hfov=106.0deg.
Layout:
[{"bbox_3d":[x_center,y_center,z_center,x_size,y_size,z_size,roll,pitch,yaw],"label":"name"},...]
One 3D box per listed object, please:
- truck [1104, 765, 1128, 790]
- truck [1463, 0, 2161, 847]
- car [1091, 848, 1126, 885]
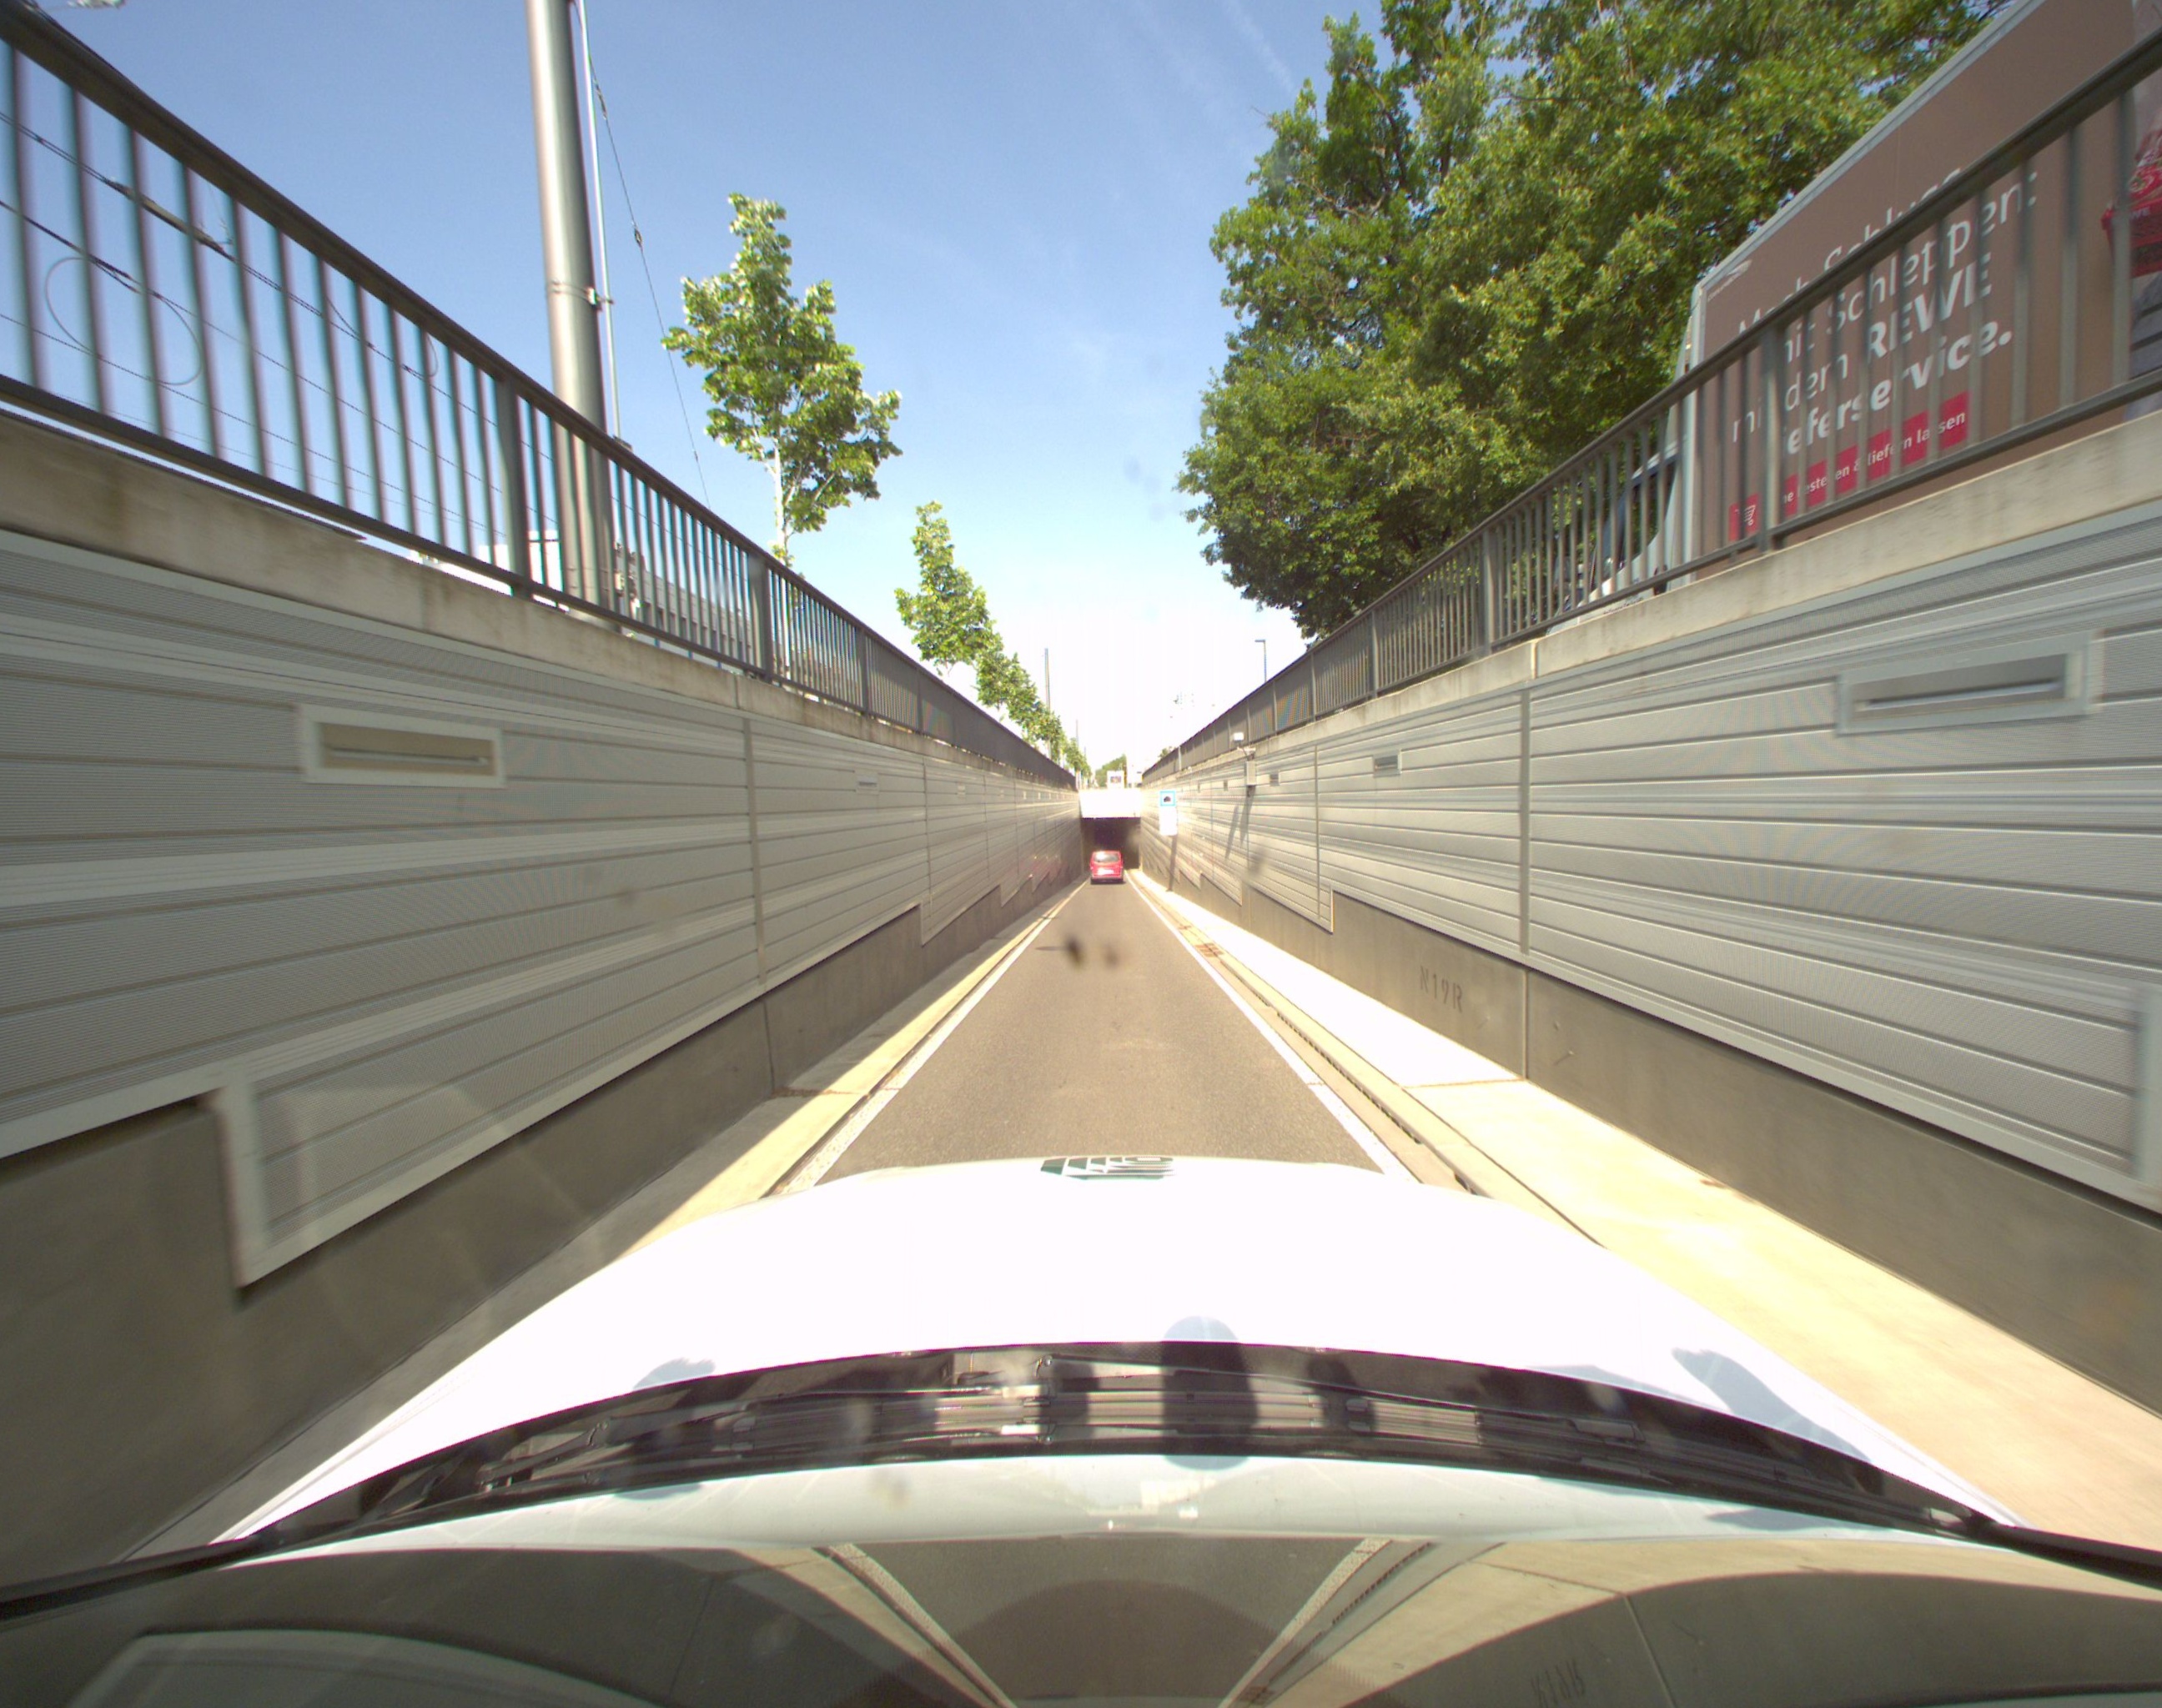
[{"bbox_3d":[5.666,-12.497,134.255,3.380,3.724,10.453,-3,4,0],"label":"truck"},{"bbox_3d":[5.251,-1.601,4.869,2.492,3.060,7.823,0,0,2],"label":"truck"},{"bbox_3d":[1.570,0.678,46.960,1.894,1.859,4.002,0,2,1],"label":"car"}]
